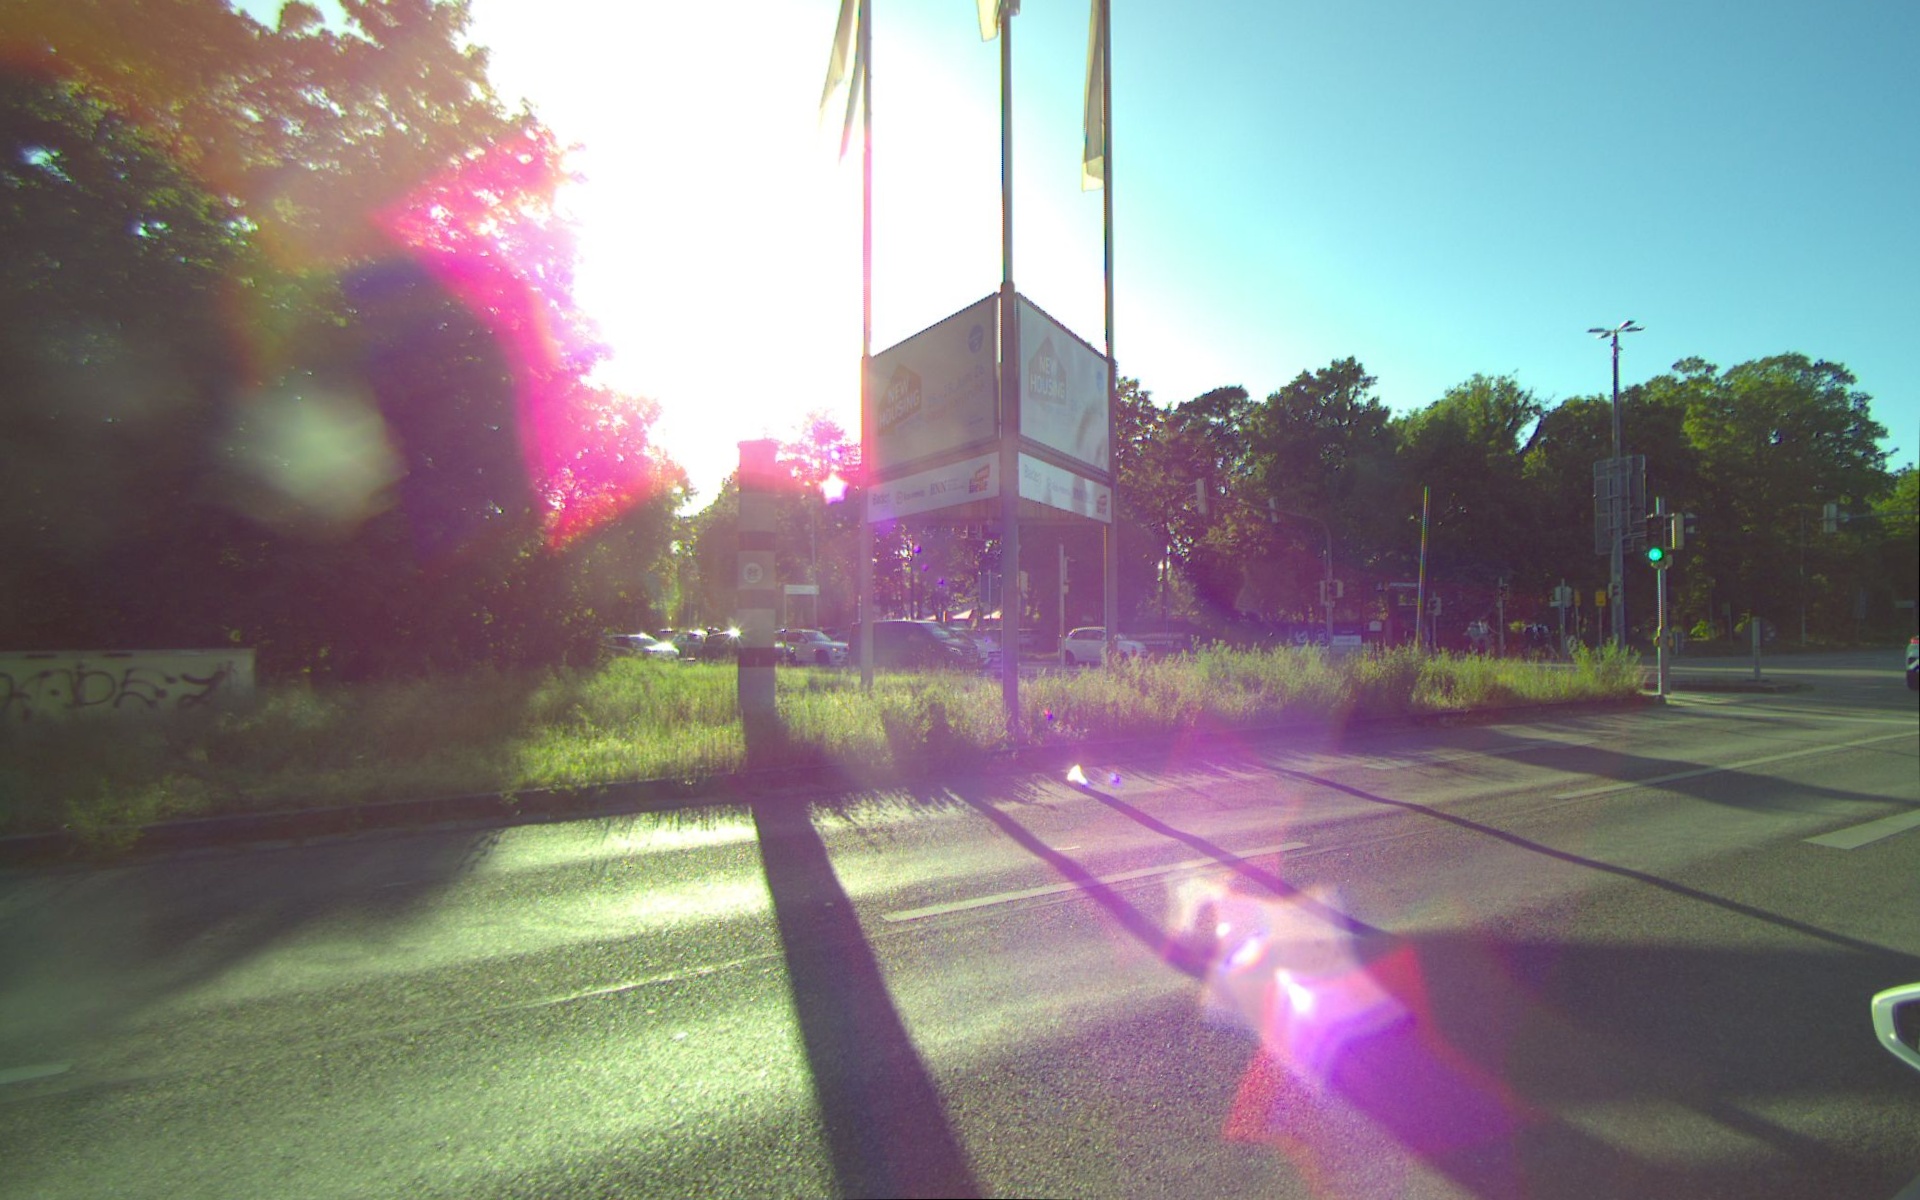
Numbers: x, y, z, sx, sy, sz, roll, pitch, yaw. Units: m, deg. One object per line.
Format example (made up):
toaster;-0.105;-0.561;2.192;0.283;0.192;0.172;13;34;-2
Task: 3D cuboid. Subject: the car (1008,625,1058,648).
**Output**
car;5.322;2.632;72.886;1.784;1.621;4.183;-1;-1;35

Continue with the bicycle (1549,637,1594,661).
bicycle;24.655;1.961;40.517;1.887;0.926;0.712;1;-1;-29

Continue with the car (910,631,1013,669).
car;0.043;1.911;39.153;3.735;1.407;1.643;-1;-2;33

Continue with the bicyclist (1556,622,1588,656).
bicyclist;24.706;1.563;40.549;0.978;1.357;0.712;0;-1;-29

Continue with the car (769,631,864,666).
car;-6.157;2.042;42.976;3.735;1.407;1.849;-1;-2;33

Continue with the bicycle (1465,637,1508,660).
bicycle;22.415;2.070;42.788;1.887;0.926;0.712;1;-1;-29

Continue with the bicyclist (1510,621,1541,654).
bicyclist;23.751;1.570;42.165;0.978;1.373;0.712;0;-1;-29

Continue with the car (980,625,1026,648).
car;3.198;2.676;74.455;1.784;1.621;3.490;-1;-1;35

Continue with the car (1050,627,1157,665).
car;5.631;1.769;39.503;3.735;1.407;1.923;-1;-2;33

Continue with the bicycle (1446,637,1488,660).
bicycle;22.015;2.084;43.604;1.887;0.926;0.712;0;-1;-29

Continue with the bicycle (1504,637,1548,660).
bicycle;23.756;2.010;42.161;1.887;0.926;0.712;1;-1;-29

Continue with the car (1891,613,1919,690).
car;20.283;1.006;19.831;3.956;1.463;1.853;1;-1;-32

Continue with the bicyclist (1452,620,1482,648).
bicyclist;22.012;1.484;43.616;0.978;1.208;0.712;0;-1;-29

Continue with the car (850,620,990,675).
car;-1.481;1.654;36.086;4.850;1.854;1.923;-1;-2;33

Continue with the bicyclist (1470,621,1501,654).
bicyclist;22.382;1.581;42.783;0.978;1.408;0.707;0;-1;-29

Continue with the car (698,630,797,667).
car;-8.619;1.939;40.737;3.735;1.407;1.849;-1;-2;33

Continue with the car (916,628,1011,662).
car;0.147;1.909;43.597;3.735;1.407;1.849;-1;-2;33

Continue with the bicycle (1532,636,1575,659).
bicycle;25.539;2.025;43.209;1.887;0.926;0.712;1;-1;-29

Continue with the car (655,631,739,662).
car;-12.385;2.154;47.274;3.735;1.407;1.849;-1;-2;33

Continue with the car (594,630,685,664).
car;-13.955;2.005;43.734;3.735;1.407;1.849;-1;-2;33

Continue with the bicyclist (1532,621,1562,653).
bicyclist;25.141;1.575;42.995;0.978;1.360;0.712;0;-1;-29
